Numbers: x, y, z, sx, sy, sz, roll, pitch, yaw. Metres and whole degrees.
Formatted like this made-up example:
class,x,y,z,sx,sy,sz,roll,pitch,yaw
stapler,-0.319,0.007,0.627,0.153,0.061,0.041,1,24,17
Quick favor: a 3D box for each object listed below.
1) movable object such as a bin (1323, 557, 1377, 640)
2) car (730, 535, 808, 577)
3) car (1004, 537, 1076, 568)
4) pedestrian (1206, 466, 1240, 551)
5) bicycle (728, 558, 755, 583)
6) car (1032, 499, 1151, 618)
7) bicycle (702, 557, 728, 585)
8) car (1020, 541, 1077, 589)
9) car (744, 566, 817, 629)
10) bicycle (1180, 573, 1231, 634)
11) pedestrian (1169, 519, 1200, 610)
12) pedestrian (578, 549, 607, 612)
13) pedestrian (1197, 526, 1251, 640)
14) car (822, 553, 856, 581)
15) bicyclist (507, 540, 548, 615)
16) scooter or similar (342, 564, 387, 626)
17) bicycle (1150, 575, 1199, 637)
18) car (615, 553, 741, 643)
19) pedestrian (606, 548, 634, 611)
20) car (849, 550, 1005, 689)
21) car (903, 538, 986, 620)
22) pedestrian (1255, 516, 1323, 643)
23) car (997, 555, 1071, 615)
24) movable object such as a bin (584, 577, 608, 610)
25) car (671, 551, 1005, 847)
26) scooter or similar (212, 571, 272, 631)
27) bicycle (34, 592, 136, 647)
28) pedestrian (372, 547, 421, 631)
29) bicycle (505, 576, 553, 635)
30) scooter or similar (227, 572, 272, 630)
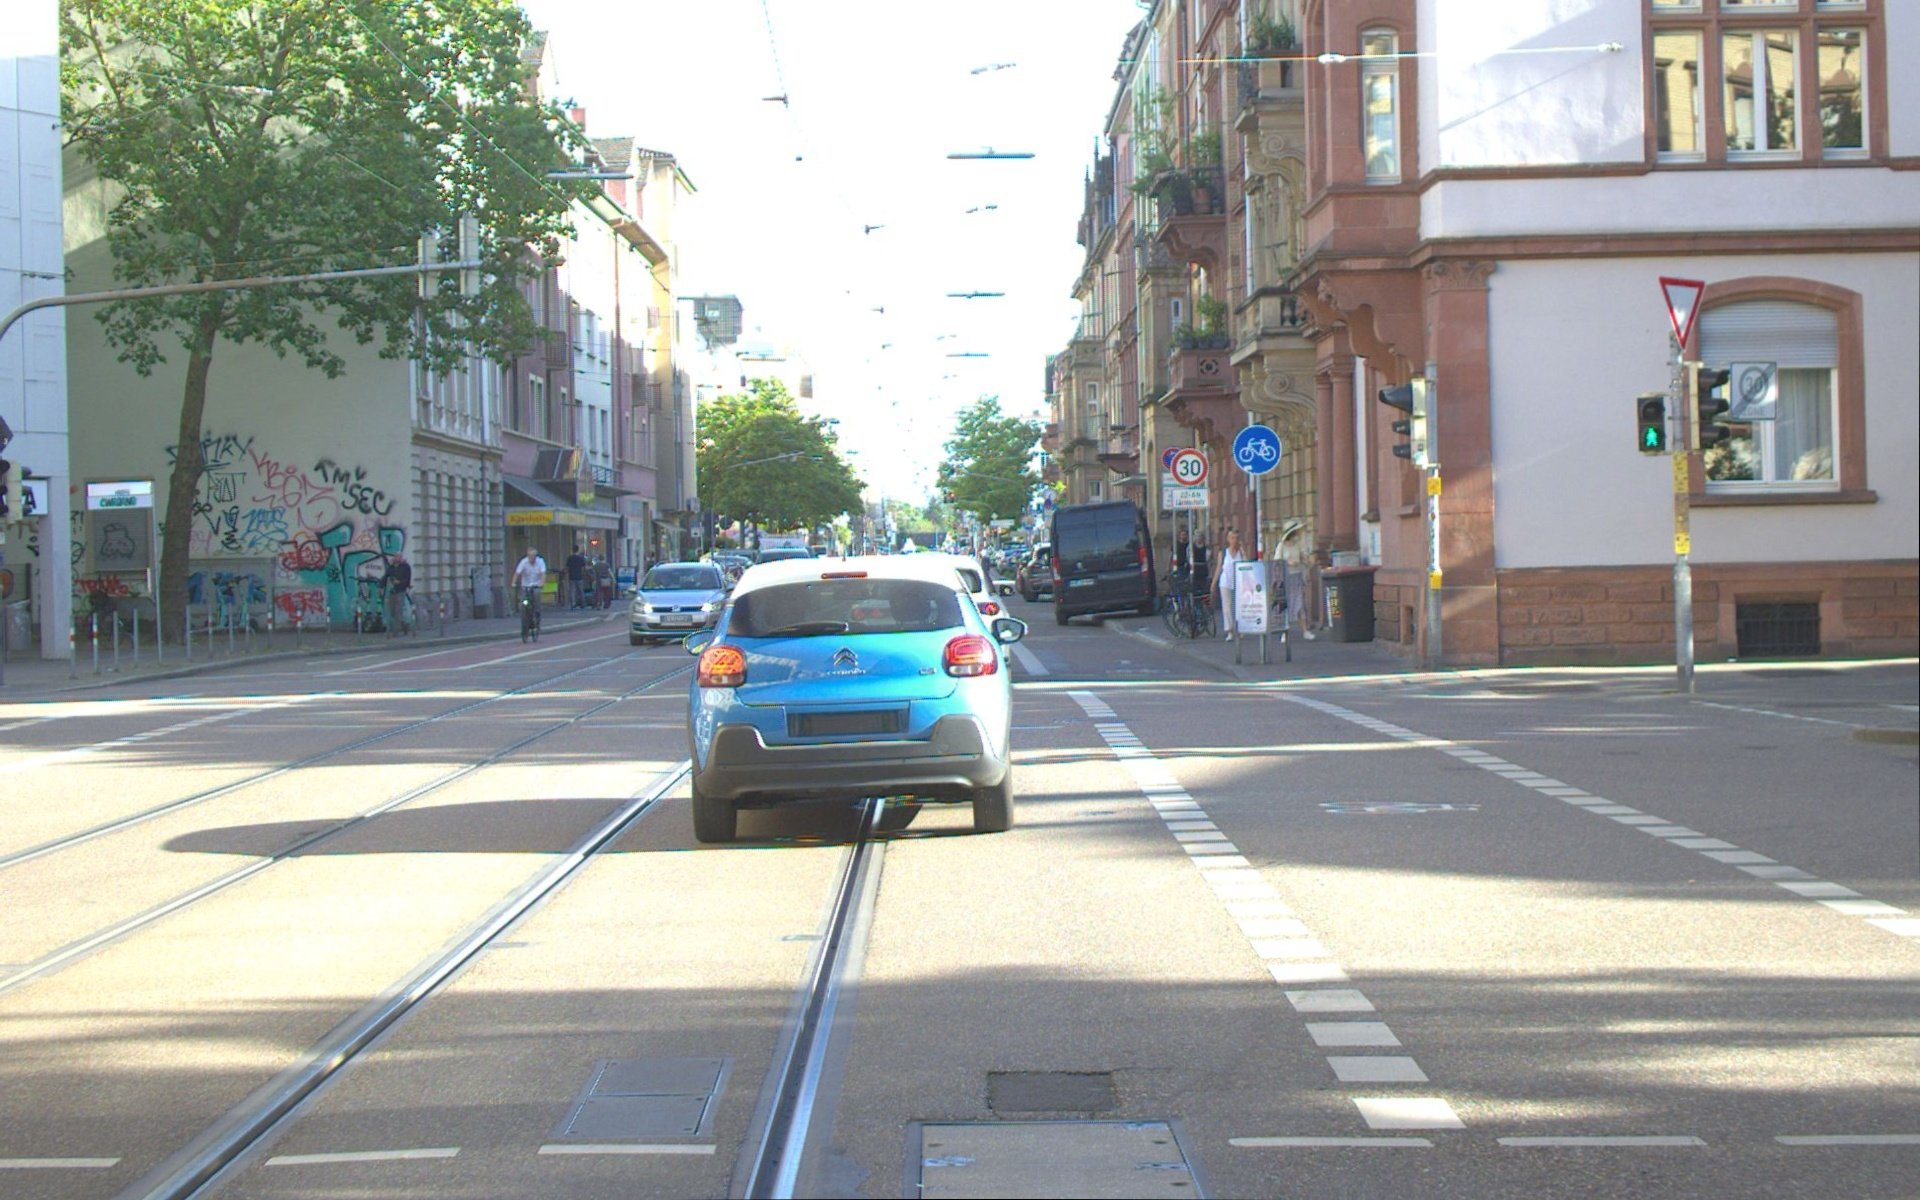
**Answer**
class,x,y,z,sx,sy,sz,roll,pitch,yaw
movable object such as a bin,5.501,-0.023,48.481,0.666,1.150,0.594,-1,1,-2
car,-11.945,-2.759,214.749,4.307,2.572,2.210,-1,1,-26
car,4.428,-2.622,191.341,3.835,1.612,1.792,-2,1,-2
pedestrian,5.629,-1.950,73.572,0.553,1.776,0.606,-4,0,-2
bicycle,-10.566,-1.443,166.330,1.120,1.142,3.645,-2,1,-6
car,2.801,-0.913,74.447,2.271,2.428,5.720,-1,1,-1
bicycle,-11.858,-1.413,166.118,1.120,1.315,3.645,-2,1,-6
car,3.235,-1.294,125.884,2.005,1.667,4.391,-1,1,2
car,-5.206,-0.096,100.219,1.993,1.738,4.563,-1,1,-2
bicycle,3.858,0.047,54.105,0.431,0.944,1.764,-1,1,-8
pedestrian,5.016,-0.798,76.738,0.585,2.007,0.823,-1,1,-2
pedestrian,-10.346,-0.557,96.857,0.710,1.758,0.570,-2,1,-1
pedestrian,3.968,-0.258,51.648,0.626,1.695,0.682,-1,1,-9
car,-7.367,-2.015,209.898,1.993,1.645,4.000,-2,1,-1
bicyclist,-8.575,-0.449,68.162,0.682,1.478,0.778,-1,1,-1
scooter or similar,-12.883,-0.113,74.402,0.788,1.267,1.075,1,2,-1
bicycle,3.369,0.092,54.051,0.431,0.944,1.764,-1,1,-8
car,-5.038,-0.065,61.911,1.985,1.497,4.309,-1,1,-1
pedestrian,-9.636,-0.578,97.376,0.710,1.758,0.655,-2,1,-8
car,-0.412,0.180,39.706,1.667,1.473,4.000,-2,1,-1
car,-0.430,-0.567,88.448,1.993,2.007,4.000,-2,1,-1
pedestrian,4.793,-0.304,50.151,0.705,1.776,0.673,-7,1,-1
car,2.152,-0.465,101.592,2.005,1.667,4.806,-2,1,0
movable object such as a bin,-10.334,-0.198,97.593,0.610,0.911,0.695,-2,1,0
car,-0.592,0.474,19.442,1.674,1.472,4.000,-1,1,1
scooter or similar,-15.257,0.020,73.044,1.227,1.253,0.768,-1,1,-12
bicycle,-16.952,0.385,66.583,1.918,1.031,0.664,-1,1,26
pedestrian,-11.944,-0.239,72.917,0.682,1.759,1.025,-1,1,10
bicycle,-8.556,0.107,68.311,0.692,1.116,2.084,-1,1,-1
scooter or similar,-15.306,0.020,74.047,0.937,1.218,0.768,-1,1,-12
